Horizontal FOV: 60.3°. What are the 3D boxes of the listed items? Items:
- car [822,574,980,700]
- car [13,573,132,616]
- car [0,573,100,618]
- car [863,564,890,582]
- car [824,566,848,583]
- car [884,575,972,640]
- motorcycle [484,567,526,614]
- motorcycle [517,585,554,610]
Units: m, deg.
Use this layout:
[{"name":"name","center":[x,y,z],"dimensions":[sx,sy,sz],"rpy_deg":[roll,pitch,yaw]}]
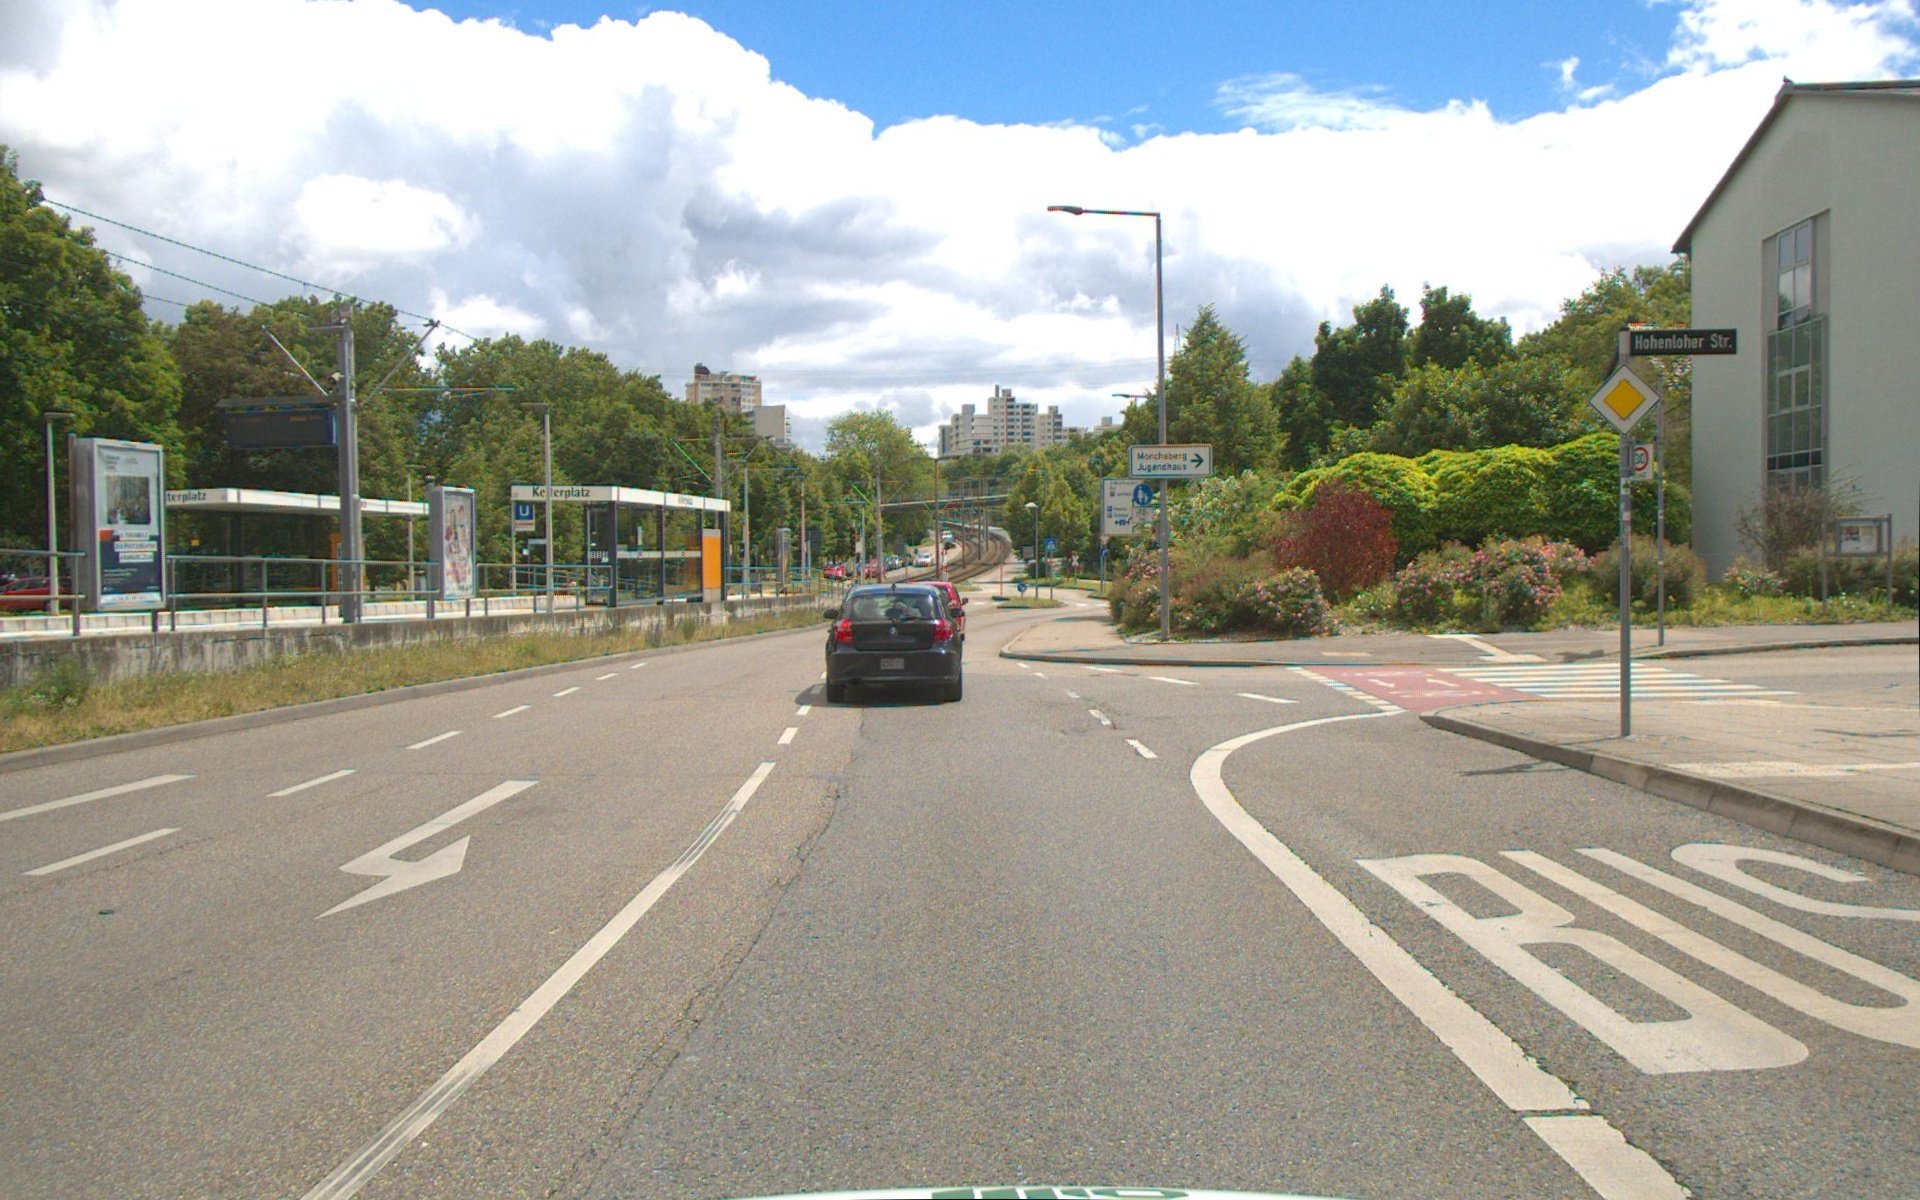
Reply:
[{"name":"car","center":[-0.666,0.435,21.504],"dimensions":[1.778,1.445,4.001],"rpy_deg":[-1,0,1]},{"name":"car","center":[-37.436,-0.262,69.813],"dimensions":[3.903,1.713,1.976],"rpy_deg":[0,2,4]},{"name":"car","center":[-37.431,-0.179,67.505],"dimensions":[3.559,1.735,2.055],"rpy_deg":[0,2,4]},{"name":"car","center":[-7.372,-2.407,146.661],"dimensions":[1.682,1.529,2.970],"rpy_deg":[0,2,11]},{"name":"car","center":[-10.724,-2.200,143.633],"dimensions":[1.496,1.394,3.600],"rpy_deg":[-1,1,5]},{"name":"car","center":[-0.727,0.155,39.940],"dimensions":[1.728,1.457,3.481],"rpy_deg":[-1,1,5]},{"name":"motorcycle","center":[-20.310,-0.422,73.877],"dimensions":[0.816,2.048,1.983],"rpy_deg":[0,1,19]},{"name":"motorcycle","center":[-19.798,-0.128,77.169],"dimensions":[0.713,1.100,2.217],"rpy_deg":[-1,1,12]}]
